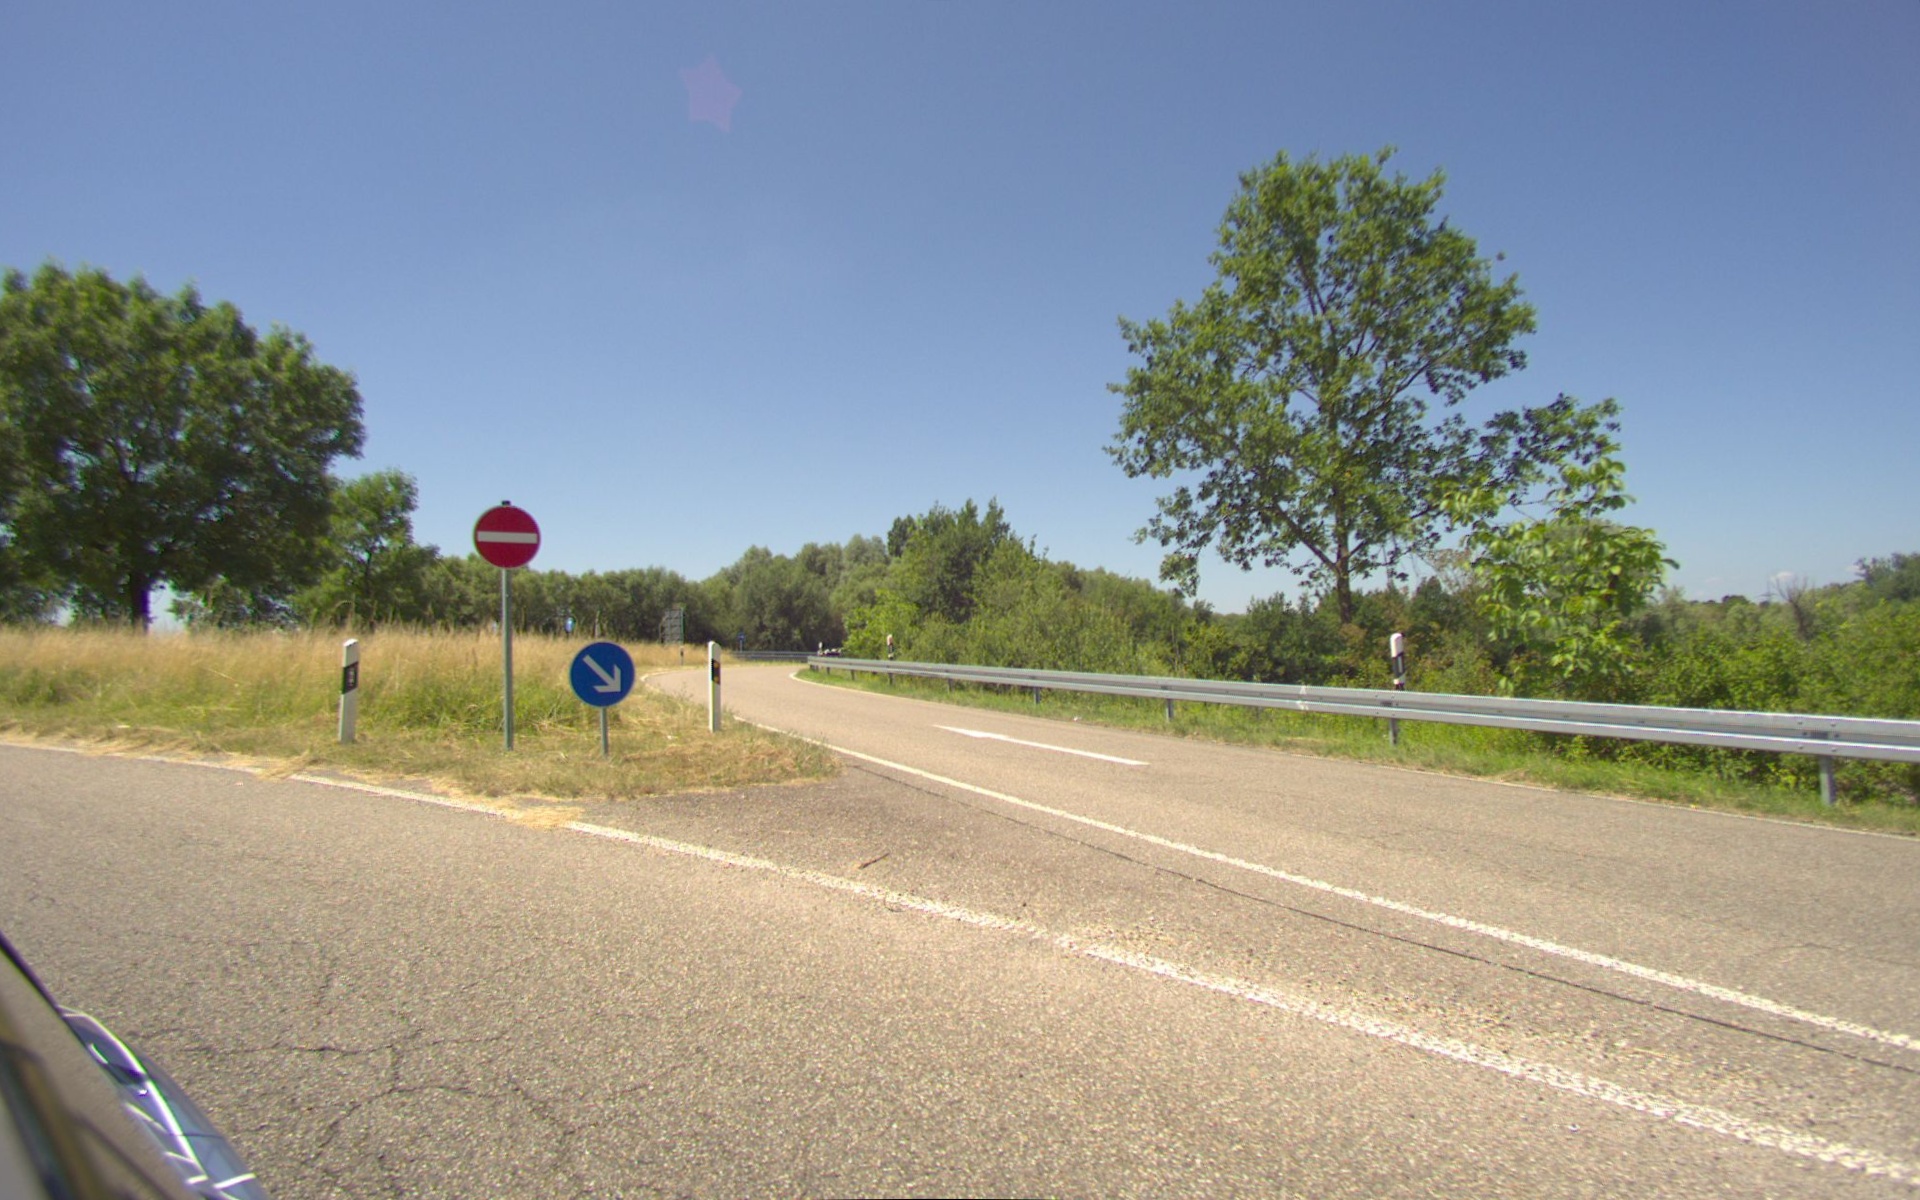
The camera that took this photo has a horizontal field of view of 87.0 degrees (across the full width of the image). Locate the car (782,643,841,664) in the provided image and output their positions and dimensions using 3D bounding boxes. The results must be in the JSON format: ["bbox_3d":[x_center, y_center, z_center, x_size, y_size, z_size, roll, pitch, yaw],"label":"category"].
[{"bbox_3d":[-11.781,4.249,80.498,1.996,1.585,4.586,-1,-3,37],"label":"car"}]
